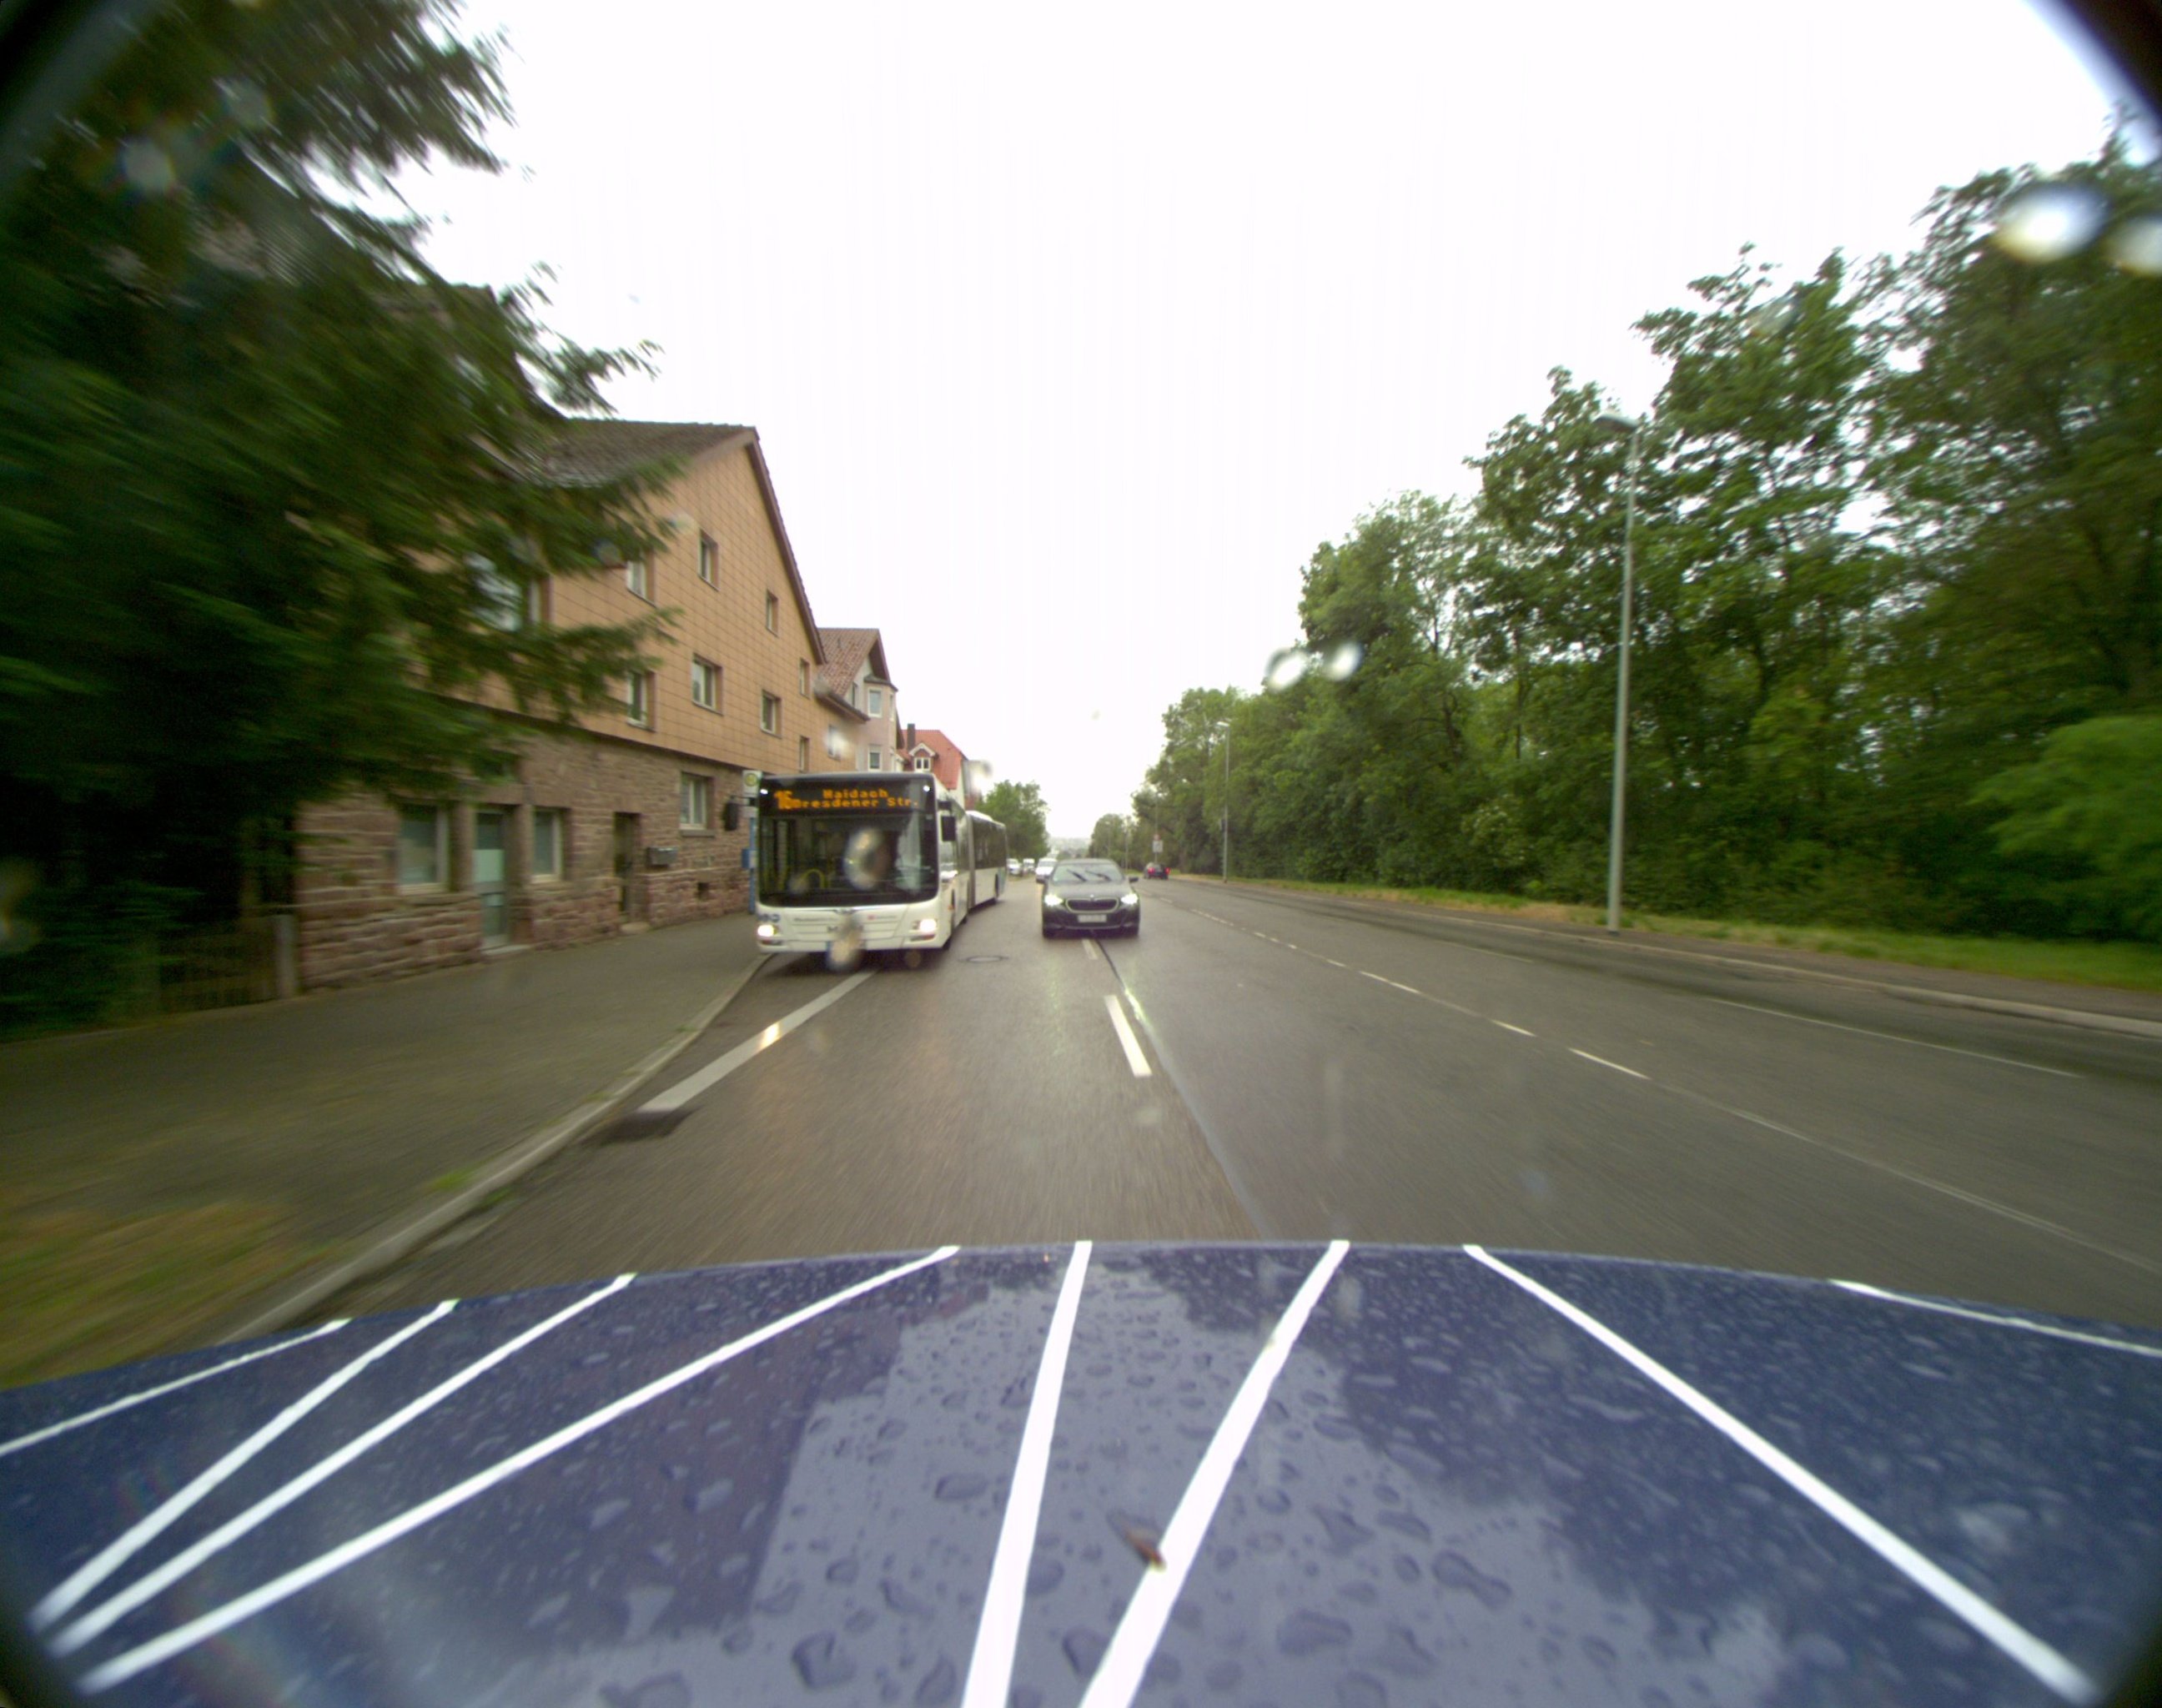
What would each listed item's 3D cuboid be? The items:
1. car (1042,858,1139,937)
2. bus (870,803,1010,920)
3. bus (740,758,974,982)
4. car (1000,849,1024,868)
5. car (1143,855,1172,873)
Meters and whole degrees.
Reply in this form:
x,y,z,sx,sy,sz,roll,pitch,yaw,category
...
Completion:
x,y,z,sx,sy,sz,roll,pitch,yaw,category
0.106,0.862,17.025,1.856,1.461,4.482,-1,0,-2,car
-3.958,0.182,23.467,2.561,2.942,8.557,-1,0,1,bus
-3.614,0.194,14.782,2.564,2.942,9.445,-1,0,-5,bus
-6.303,0.381,69.787,1.927,1.651,4.481,1,0,-3,car
6.553,0.874,65.480,1.749,1.423,4.387,2,0,-3,car
